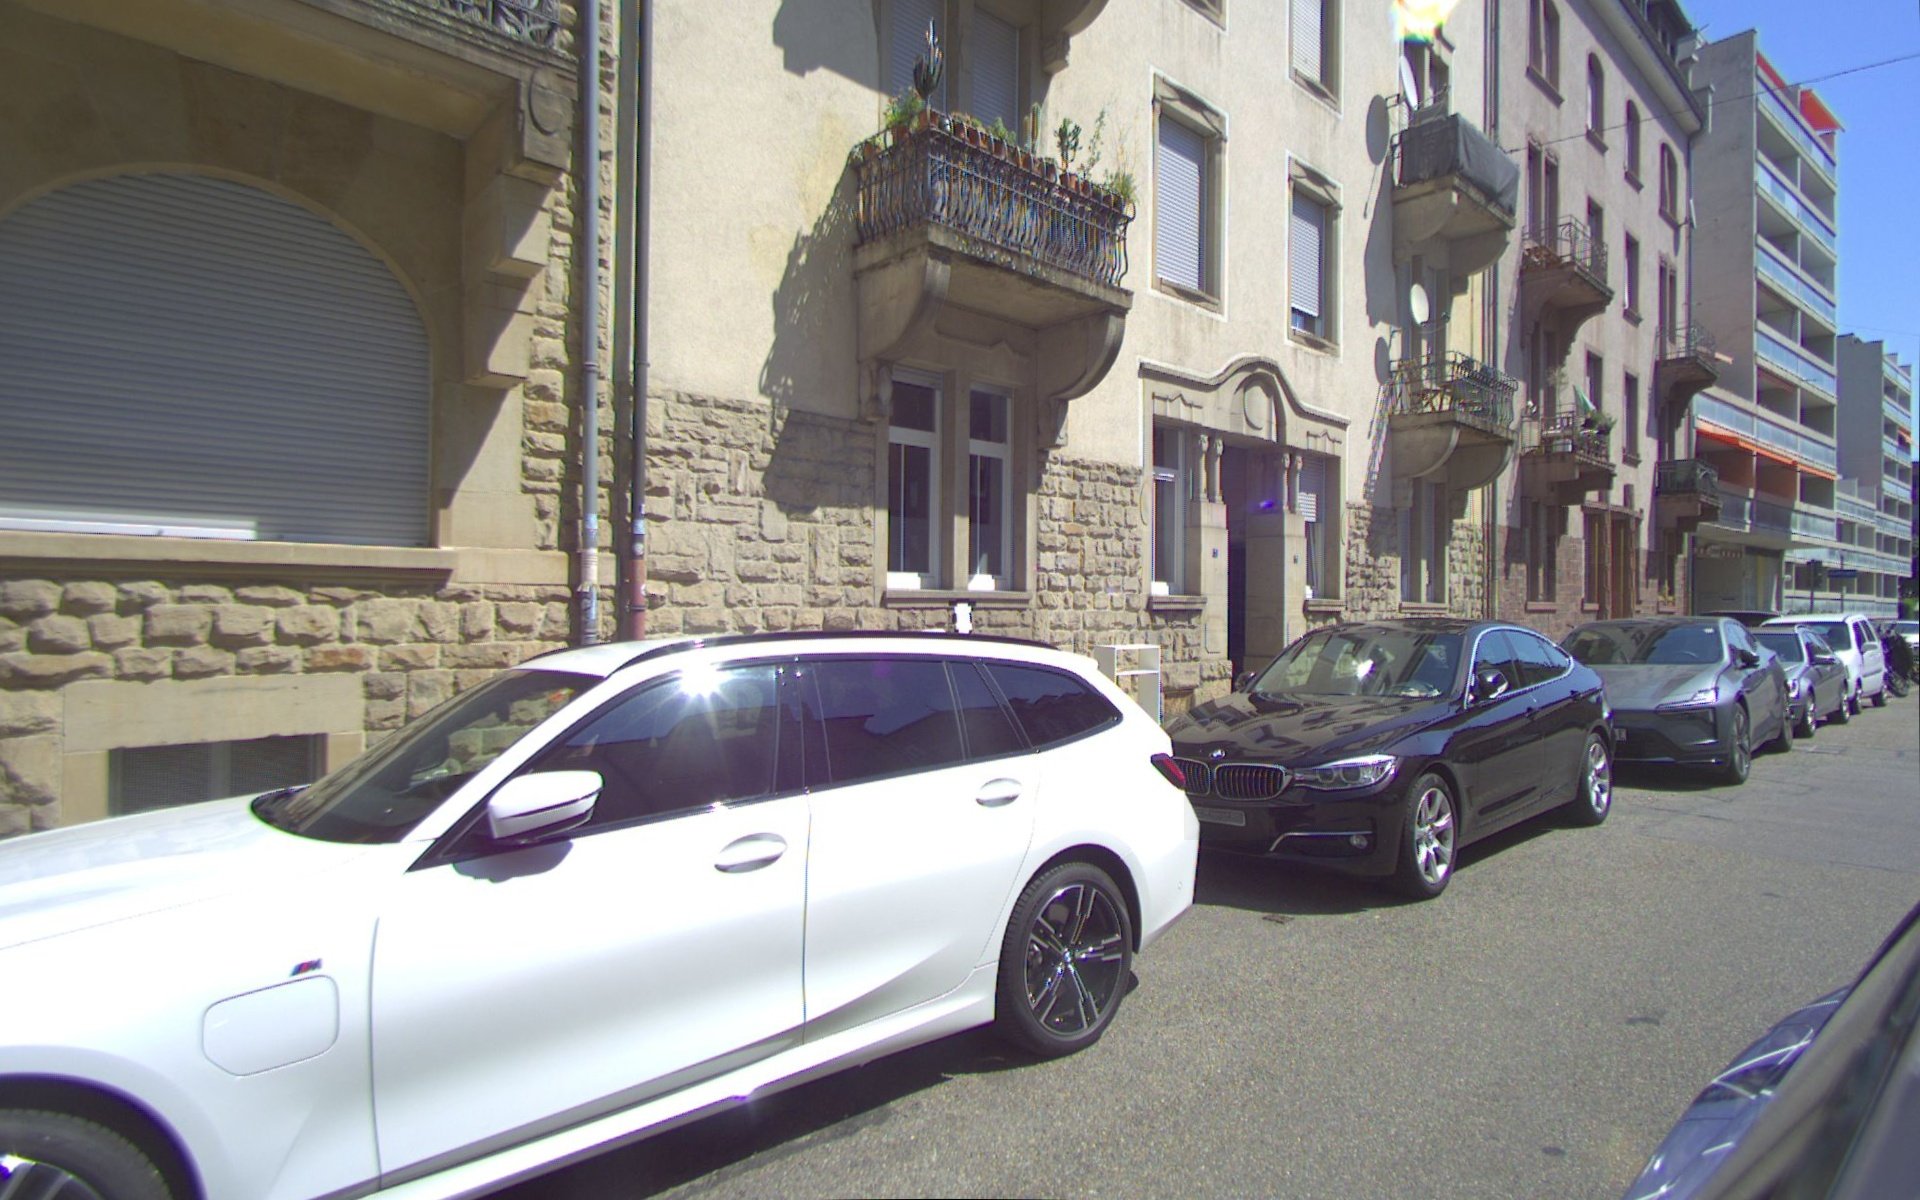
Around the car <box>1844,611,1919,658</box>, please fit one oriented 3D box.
[{"bbox_3d":[32.661,1.183,35.705,3.835,1.512,1.752,0,1,-41],"label":"car"}]

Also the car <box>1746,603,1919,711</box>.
[{"bbox_3d":[15.398,0.898,17.684,4.016,1.642,1.652,0,1,-38],"label":"car"}]

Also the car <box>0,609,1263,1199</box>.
[{"bbox_3d":[-1.047,0.788,3.377,4.515,1.471,1.719,0,-2,-40],"label":"car"}]

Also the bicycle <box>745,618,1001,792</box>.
[{"bbox_3d":[-0.663,0.789,8.334,2.088,1.204,0.641,0,3,-41],"label":"bicycle"}]

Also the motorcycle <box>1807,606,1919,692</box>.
[{"bbox_3d":[18.489,0.964,20.263,2.157,1.643,0.764,-2,-3,8],"label":"motorcycle"}]

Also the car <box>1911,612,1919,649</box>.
[{"bbox_3d":[43.750,1.348,45.023,3.930,1.571,1.716,0,1,-41],"label":"car"}]

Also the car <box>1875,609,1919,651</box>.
[{"bbox_3d":[36.321,1.113,38.550,3.835,1.512,1.752,0,1,-41],"label":"car"}]

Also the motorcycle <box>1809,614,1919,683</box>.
[{"bbox_3d":[20.607,1.081,22.759,2.157,1.448,0.732,-2,-2,9],"label":"motorcycle"}]

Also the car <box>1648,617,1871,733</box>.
[{"bbox_3d":[11.568,0.959,14.540,4.276,1.375,1.789,1,0,-42],"label":"car"}]

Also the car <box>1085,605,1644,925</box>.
[{"bbox_3d":[3.035,0.791,6.981,4.588,1.476,1.739,0,1,-42],"label":"car"}]

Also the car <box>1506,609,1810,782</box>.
[{"bbox_3d":[7.531,0.831,10.734,4.415,1.450,1.824,1,-1,-44],"label":"car"}]
